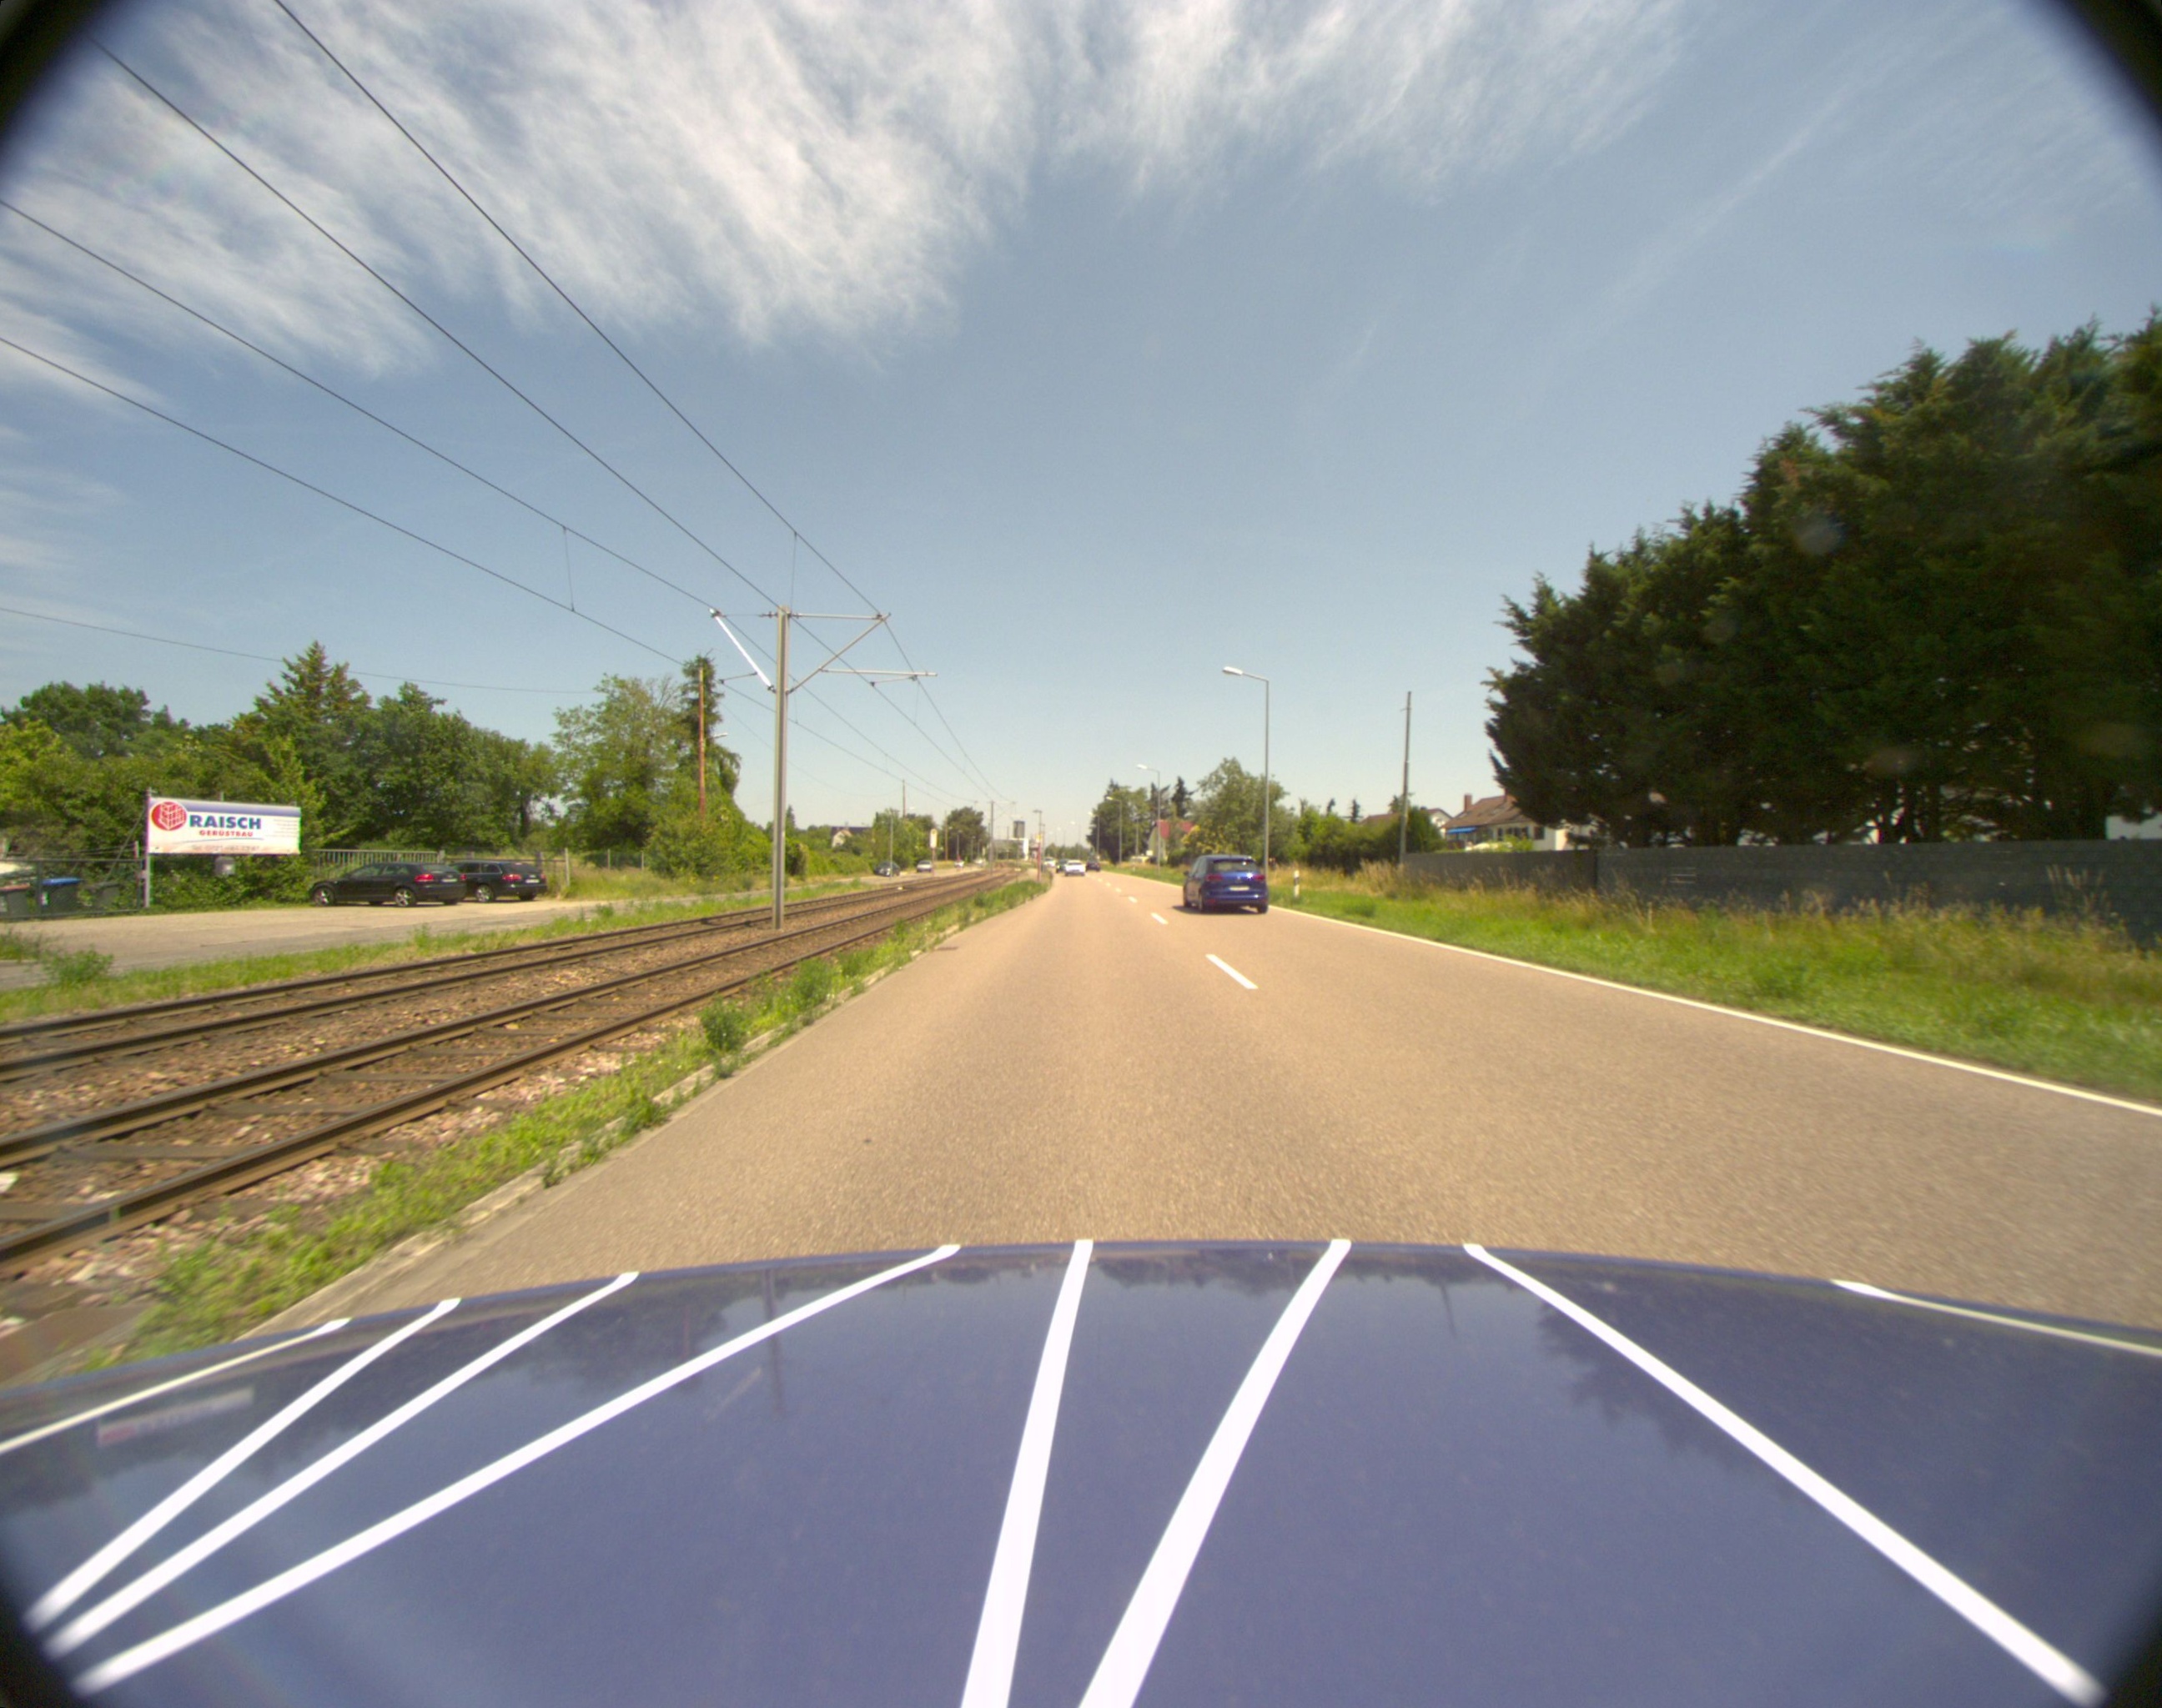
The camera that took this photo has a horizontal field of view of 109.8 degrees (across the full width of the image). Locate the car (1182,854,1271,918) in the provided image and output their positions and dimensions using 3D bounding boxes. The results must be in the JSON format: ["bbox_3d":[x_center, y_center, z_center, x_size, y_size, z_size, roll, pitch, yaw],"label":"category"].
[{"bbox_3d":[4.020,0.828,21.582,1.751,1.622,4.029,-1,0,0],"label":"car"}]

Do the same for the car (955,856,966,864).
[{"bbox_3d":[-23.233,1.158,146.531,1.718,1.480,3.999,-1,0,-5],"label":"car"}]

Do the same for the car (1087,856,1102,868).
[{"bbox_3d":[1.701,1.002,94.683,1.711,1.396,4.707,-1,0,-1],"label":"car"}]

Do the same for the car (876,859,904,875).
[{"bbox_3d":[-18.073,1.198,72.048,1.624,1.414,4.871,-1,0,-3],"label":"car"}]

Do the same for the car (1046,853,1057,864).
[{"bbox_3d":[-5.321,0.762,135.214,1.938,2.002,3.999,-1,0,-2],"label":"car"}]

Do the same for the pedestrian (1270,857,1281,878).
[{"bbox_3d":[13.697,0.942,53.464,0.610,1.469,0.633,-1,0,-1],"label":"pedestrian"}]

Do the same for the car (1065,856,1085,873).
[{"bbox_3d":[-0.586,0.967,70.857,1.856,1.447,3.706,-1,0,-1],"label":"car"}]

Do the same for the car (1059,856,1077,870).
[{"bbox_3d":[-1.529,1.011,87.925,1.999,1.576,3.999,-1,0,-1],"label":"car"}]

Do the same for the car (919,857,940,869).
[{"bbox_3d":[-17.978,1.060,90.488,1.944,1.414,3.998,-1,0,-3],"label":"car"}]

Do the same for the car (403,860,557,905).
[{"bbox_3d":[-20.982,0.976,26.641,3.995,1.508,1.900,-1,0,5],"label":"car"}]

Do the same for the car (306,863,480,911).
[{"bbox_3d":[-21.687,1.018,24.068,3.736,1.411,1.899,-1,0,0],"label":"car"}]
